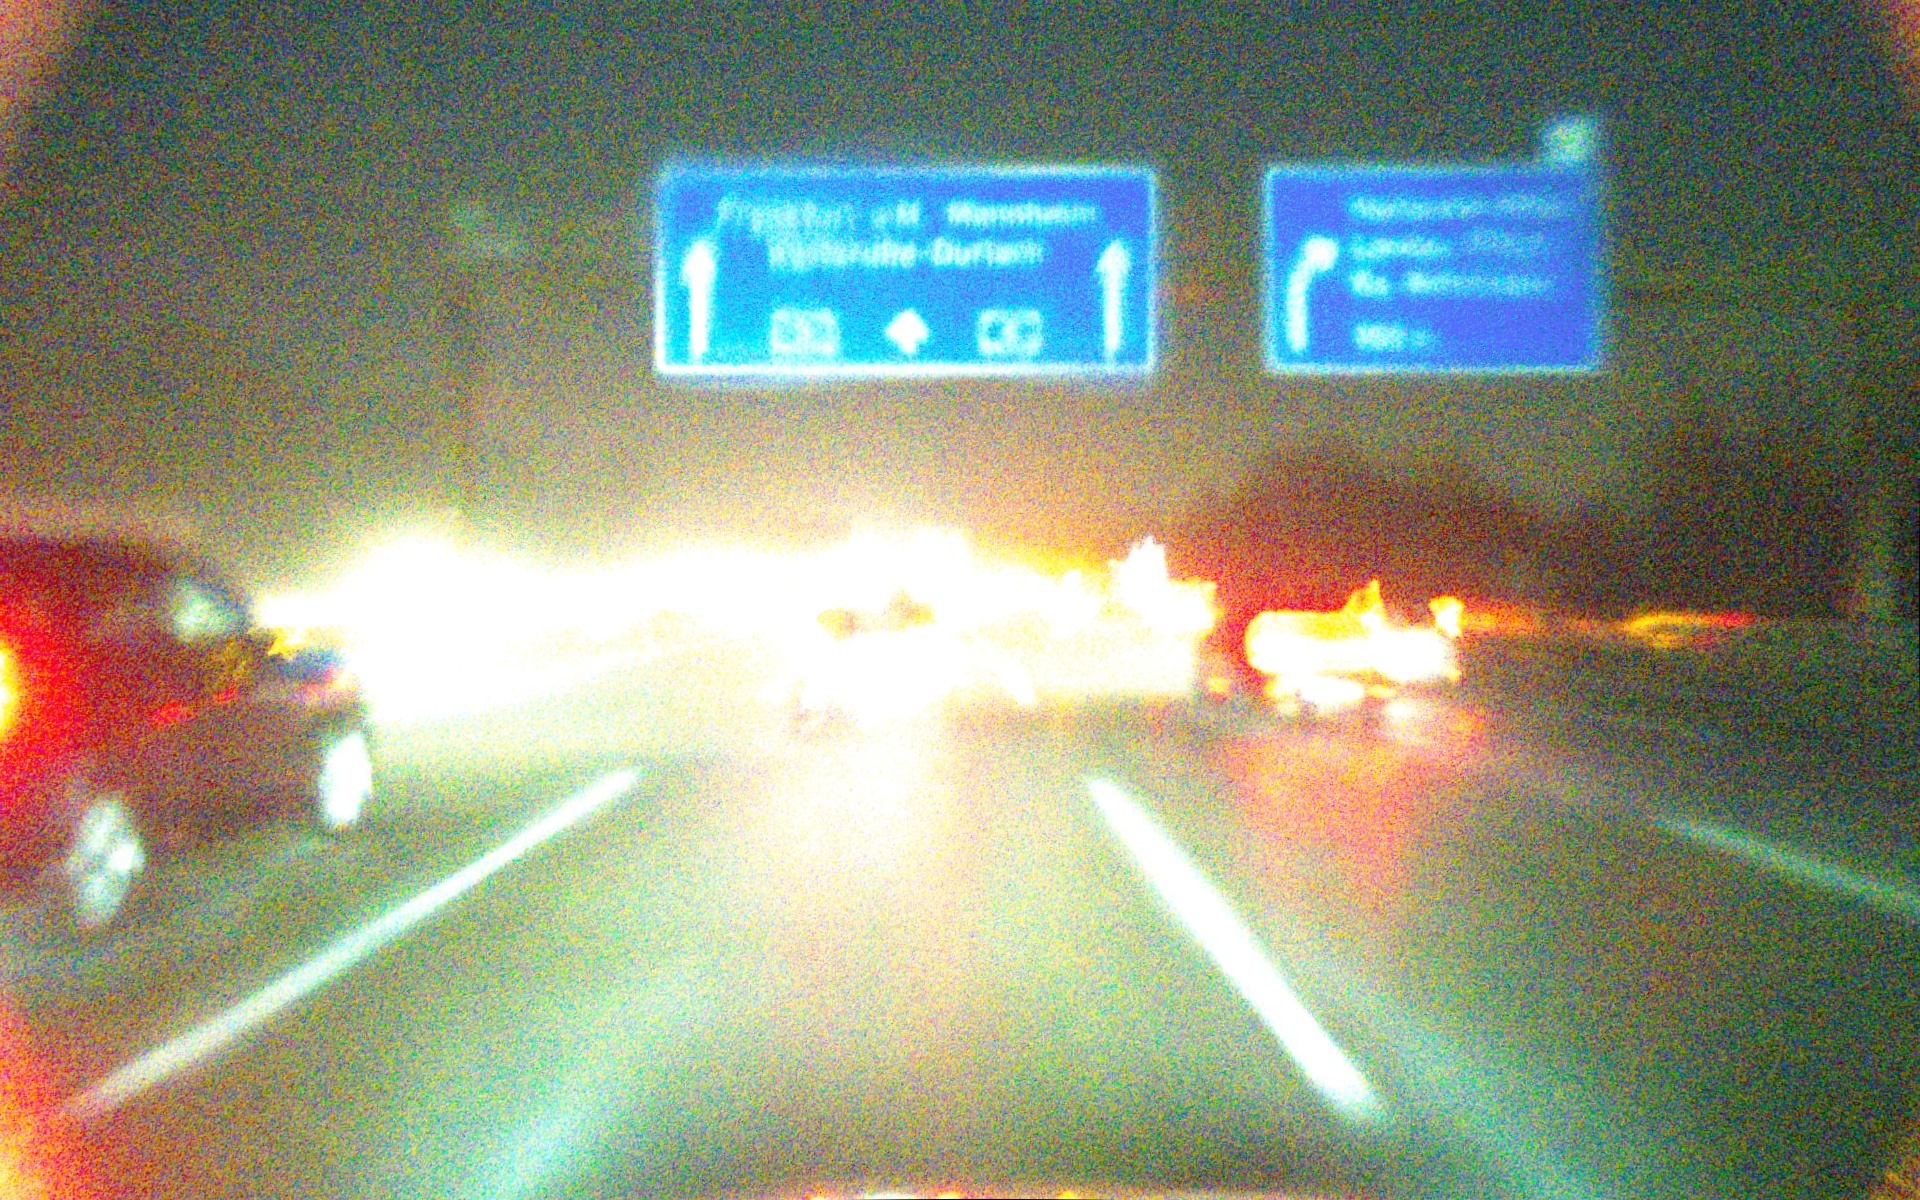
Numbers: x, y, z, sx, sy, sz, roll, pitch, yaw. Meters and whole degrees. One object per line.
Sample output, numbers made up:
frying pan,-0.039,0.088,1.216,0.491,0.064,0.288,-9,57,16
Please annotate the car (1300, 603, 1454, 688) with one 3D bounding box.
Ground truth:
car,6.766,0.712,27.107,1.550,1.268,3.066,1,0,-4

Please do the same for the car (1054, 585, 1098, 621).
car,5.444,0.115,77.927,1.824,1.646,4.001,1,0,1

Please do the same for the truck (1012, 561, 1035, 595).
truck,6.075,-2.101,159.893,1.952,3.095,6.466,-3,0,1

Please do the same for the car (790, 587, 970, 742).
car,-0.809,0.622,18.353,1.765,1.513,4.000,1,0,-1

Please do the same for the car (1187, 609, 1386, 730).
car,3.792,0.770,19.670,1.550,1.268,3.066,1,0,-4

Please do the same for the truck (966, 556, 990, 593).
truck,1.592,-2.194,144.128,1.952,3.095,6.466,-3,0,1

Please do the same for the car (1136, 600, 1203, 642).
car,6.736,0.658,53.395,1.550,1.268,3.066,1,0,-4

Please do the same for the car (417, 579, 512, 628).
car,-17.285,0.103,57.914,1.953,1.627,4.593,1,0,-1

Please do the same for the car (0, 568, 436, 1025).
car,-4.235,0.644,8.158,1.820,1.567,4.751,0,1,0

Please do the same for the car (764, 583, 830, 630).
car,-4.700,0.189,48.140,1.629,1.258,3.760,-3,0,-2

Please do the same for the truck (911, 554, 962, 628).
truck,-0.997,-0.387,73.583,1.952,3.095,6.466,-3,0,1

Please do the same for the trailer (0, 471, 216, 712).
trailer,-21.047,-0.114,36.139,2.863,4.934,14.579,-3,0,0
